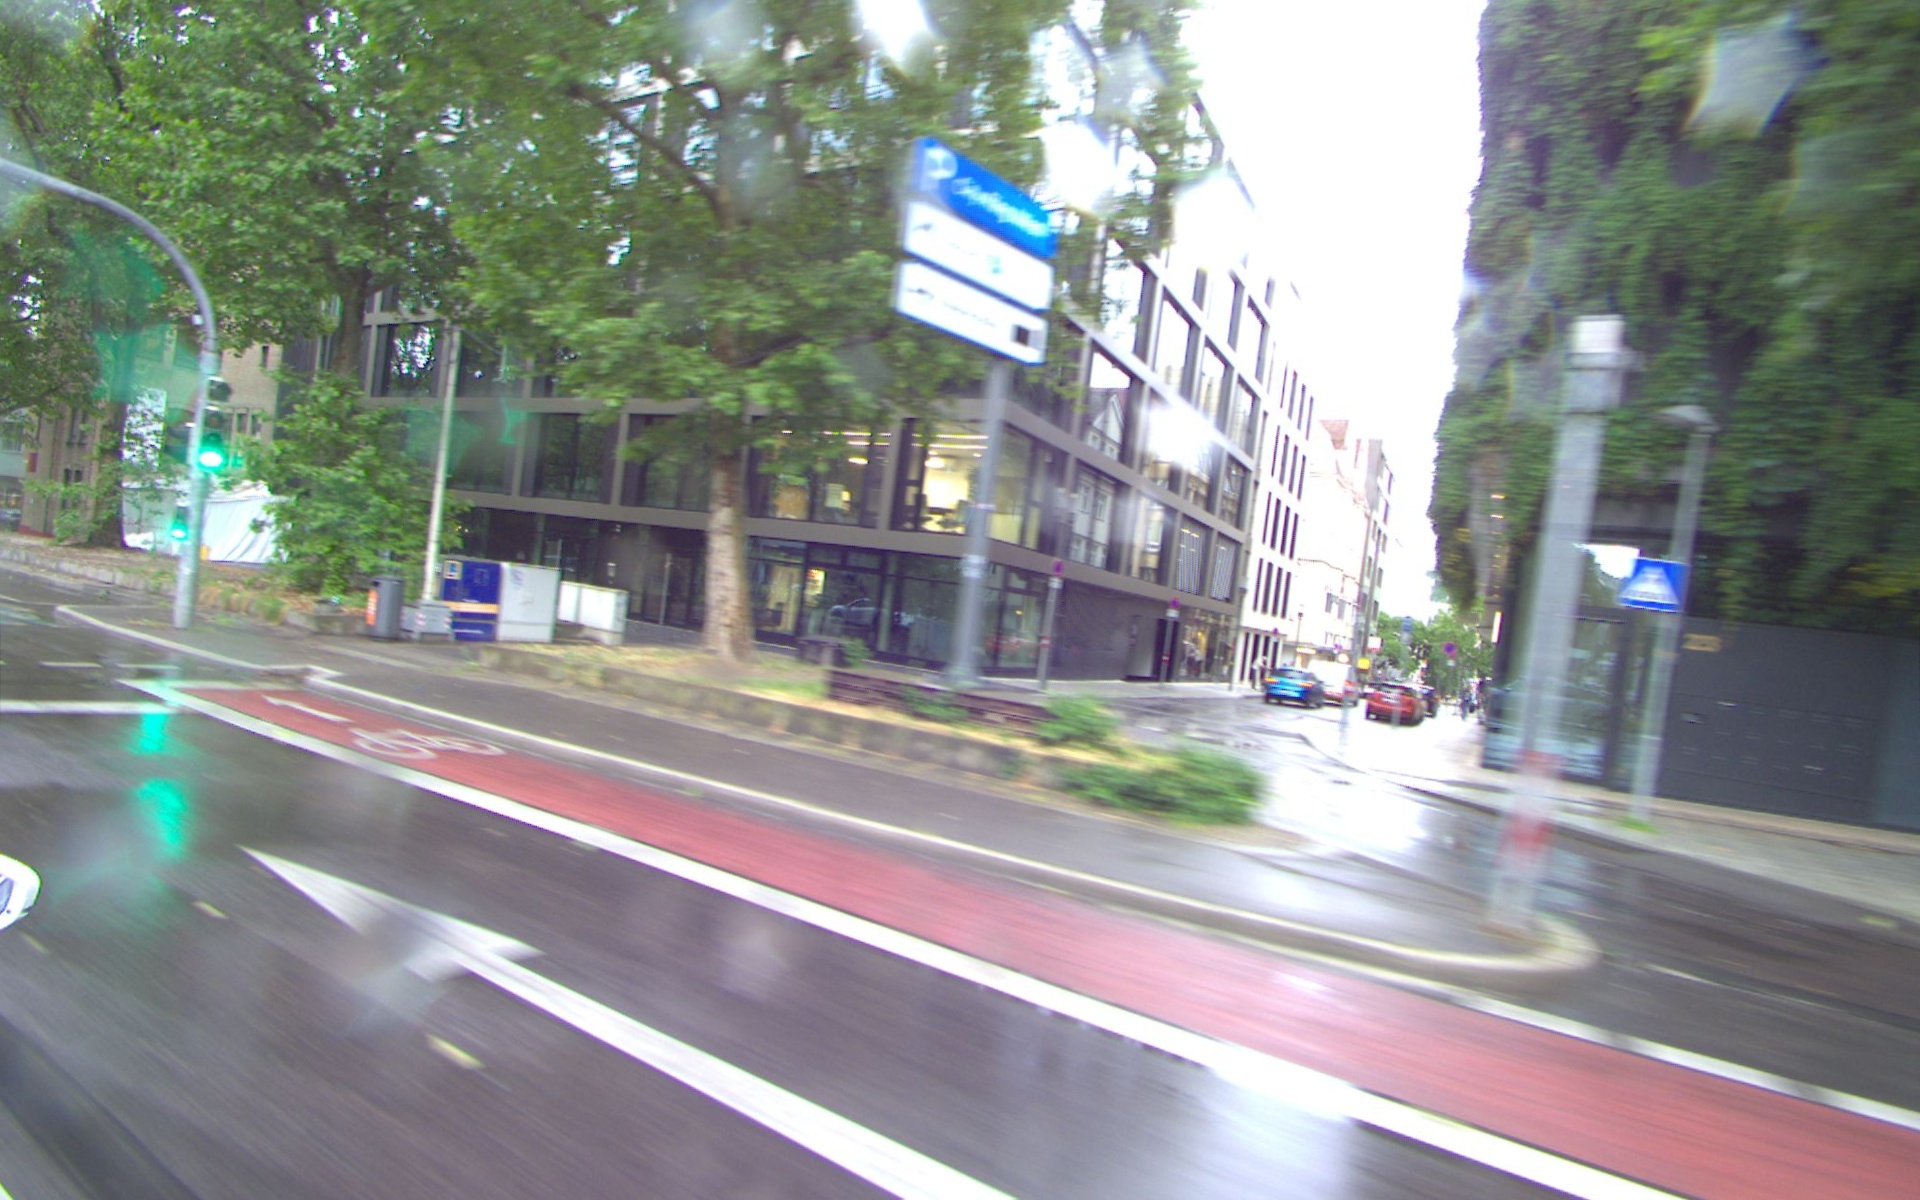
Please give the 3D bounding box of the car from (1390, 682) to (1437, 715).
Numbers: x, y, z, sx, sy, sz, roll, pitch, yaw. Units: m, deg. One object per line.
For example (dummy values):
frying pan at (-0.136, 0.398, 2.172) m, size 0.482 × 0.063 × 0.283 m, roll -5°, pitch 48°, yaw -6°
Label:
car at (23.548, 5.115, 52.139) m, size 1.814 × 1.402 × 3.998 m, roll 6°, pitch -3°, yaw 29°

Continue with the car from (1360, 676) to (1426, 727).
car at (16.443, 3.881, 38.122) m, size 1.814 × 1.606 × 3.998 m, roll 6°, pitch -3°, yaw 29°

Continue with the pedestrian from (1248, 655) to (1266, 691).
pedestrian at (13.800, 3.382, 46.752) m, size 0.537 × 1.579 × 0.503 m, roll 6°, pitch -2°, yaw 28°

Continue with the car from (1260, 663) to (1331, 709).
car at (12.838, 3.271, 38.365) m, size 1.770 × 1.453 × 4.058 m, roll 6°, pitch -2°, yaw 29°

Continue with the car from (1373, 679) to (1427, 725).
car at (18.446, 4.267, 42.106) m, size 1.754 × 1.606 × 3.802 m, roll 6°, pitch -3°, yaw 26°

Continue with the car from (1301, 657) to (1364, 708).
car at (17.036, 3.825, 45.881) m, size 1.892 × 1.967 × 4.962 m, roll 6°, pitch -3°, yaw 28°

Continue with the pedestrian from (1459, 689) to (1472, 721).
pedestrian at (24.165, 5.014, 48.101) m, size 0.420 × 1.473 × 0.420 m, roll 6°, pitch -2°, yaw 27°
